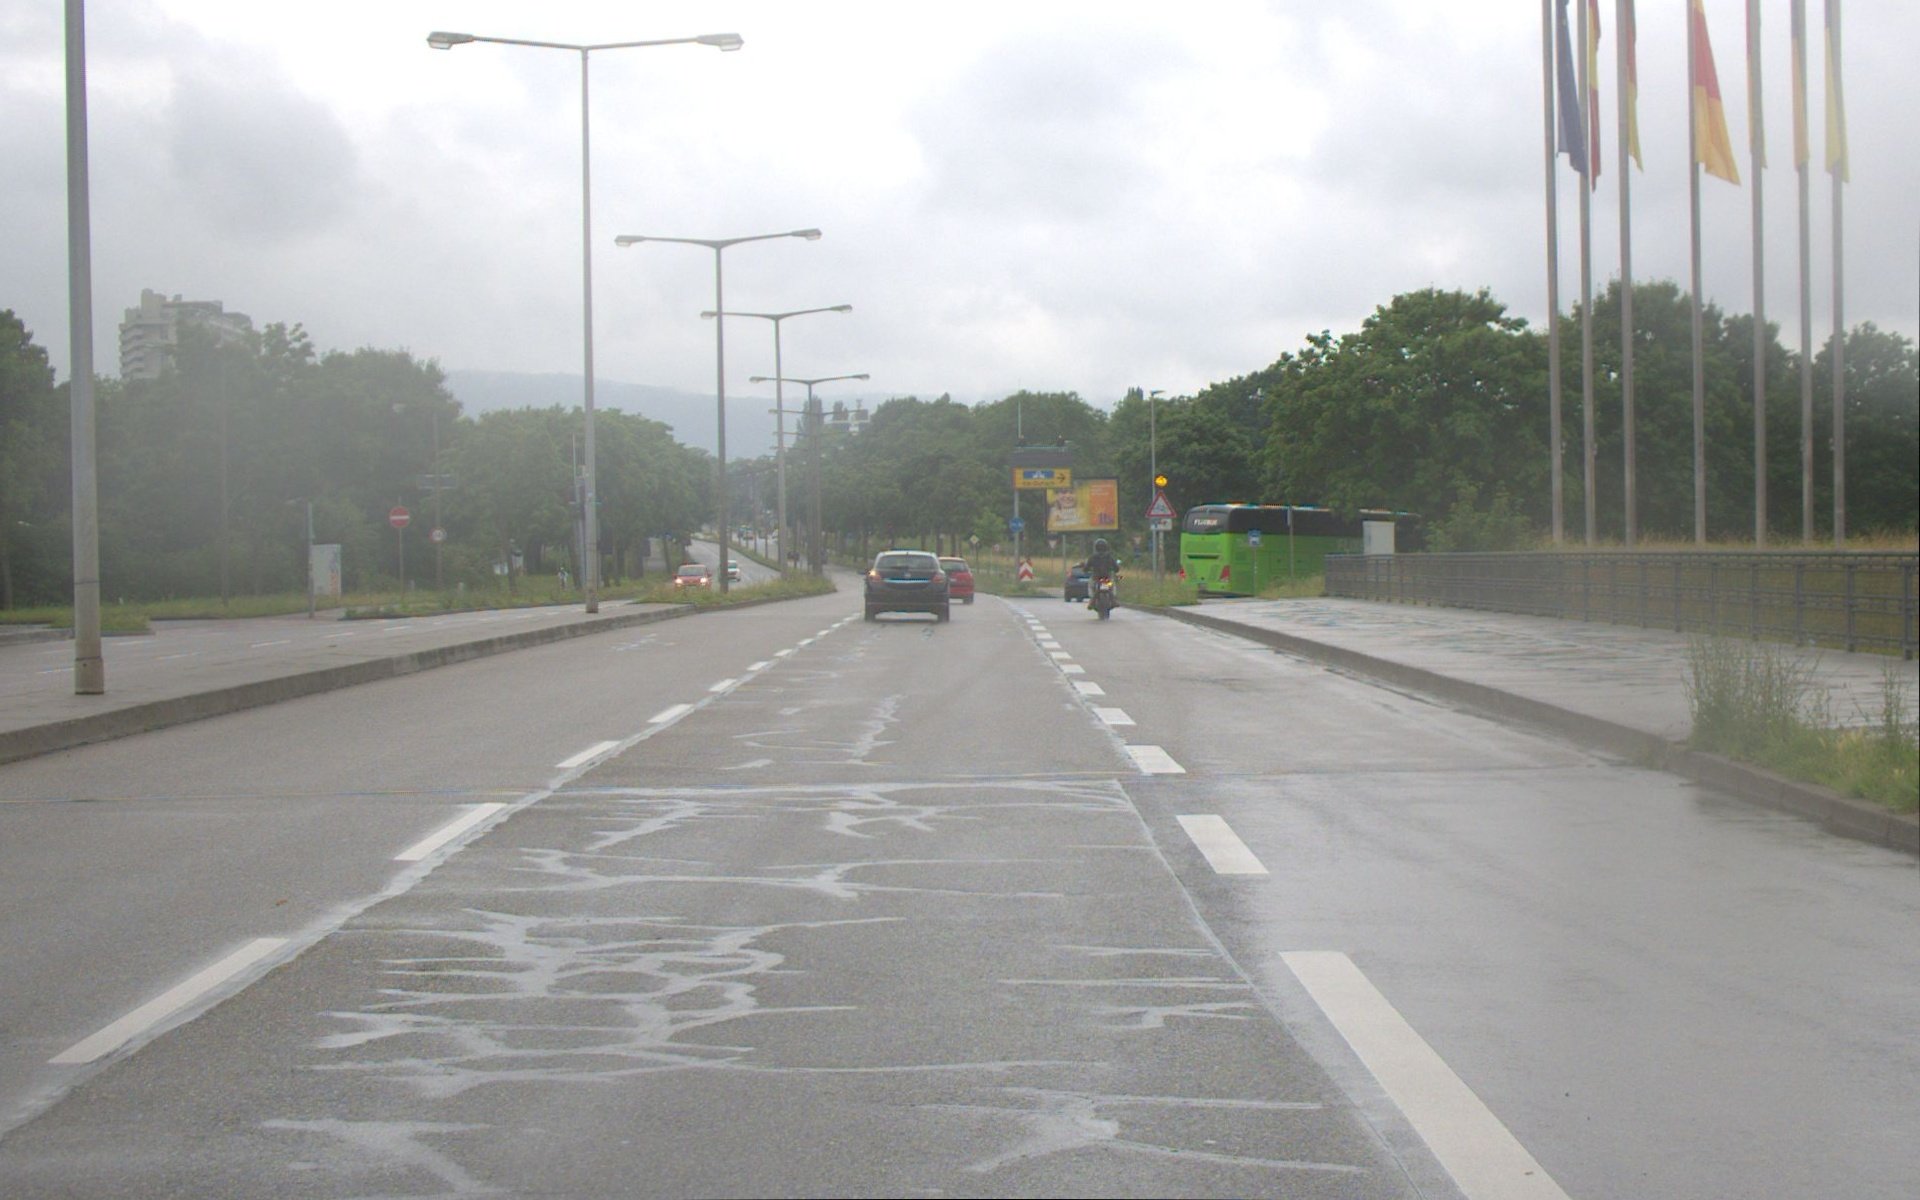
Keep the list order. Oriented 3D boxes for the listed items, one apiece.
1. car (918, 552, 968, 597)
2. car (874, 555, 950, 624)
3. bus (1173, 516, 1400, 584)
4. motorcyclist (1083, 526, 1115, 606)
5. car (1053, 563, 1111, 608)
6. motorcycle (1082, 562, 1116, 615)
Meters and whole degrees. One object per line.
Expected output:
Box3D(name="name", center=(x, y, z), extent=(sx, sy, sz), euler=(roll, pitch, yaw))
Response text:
Box3D(name="car", center=(-0.537, -0.802, 106.040), extent=(1.463, 1.324, 3.758), euler=(0, 1, -1))
Box3D(name="car", center=(-0.987, -0.238, 69.315), extent=(1.463, 1.324, 3.758), euler=(0, 1, -1))
Box3D(name="bus", center=(14.059, -2.072, 146.396), extent=(2.760, 2.670, 14.562), euler=(1, 0, 35))
Box3D(name="motorcyclist", center=(2.951, -0.723, 73.055), extent=(0.601, 1.684, 0.860), euler=(0, 1, -1))
Box3D(name="car", center=(4.529, -0.552, 127.826), extent=(1.854, 1.612, 4.000), euler=(1, 0, -2))
Box3D(name="motorcycle", center=(2.959, -0.252, 73.082), extent=(0.601, 1.089, 1.732), euler=(0, 1, -1))
